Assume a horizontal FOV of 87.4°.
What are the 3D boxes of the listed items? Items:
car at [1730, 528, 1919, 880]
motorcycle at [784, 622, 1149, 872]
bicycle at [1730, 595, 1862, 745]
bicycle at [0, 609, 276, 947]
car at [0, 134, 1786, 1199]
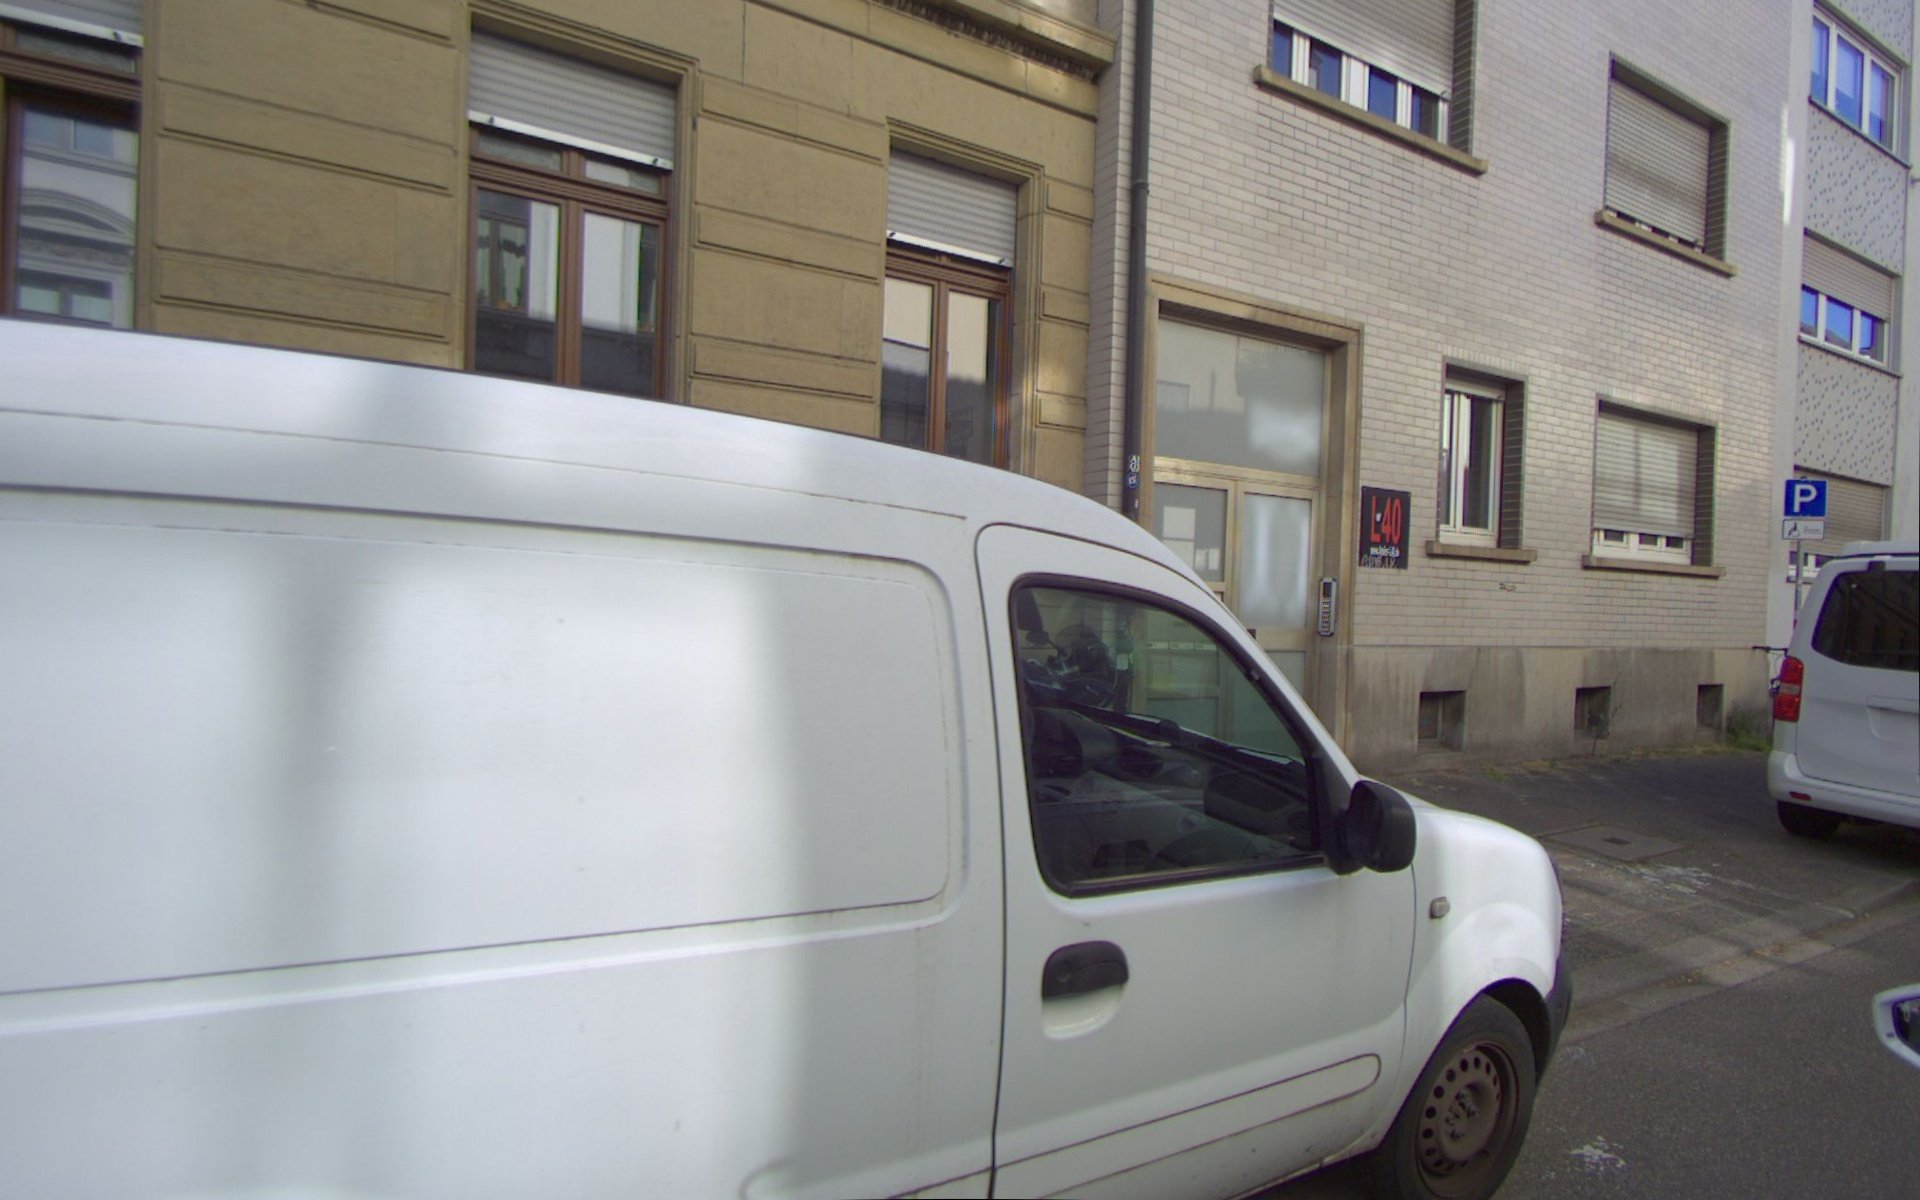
[{"bbox_3d":[7.474,0.640,6.880,4.729,1.985,1.883,1,3,-32],"label":"car"},{"bbox_3d":[0.102,0.751,5.623,2.097,1.201,0.430,2,1,-31],"label":"motorcycle"},{"bbox_3d":[9.239,0.748,11.082,1.782,1.529,0.553,2,2,-34],"label":"bicycle"},{"bbox_3d":[-3.393,0.612,3.614,1.491,1.140,0.430,2,1,-31],"label":"bicycle"},{"bbox_3d":[-0.091,0.512,2.365,4.042,1.901,1.735,1,4,-31],"label":"car"}]
